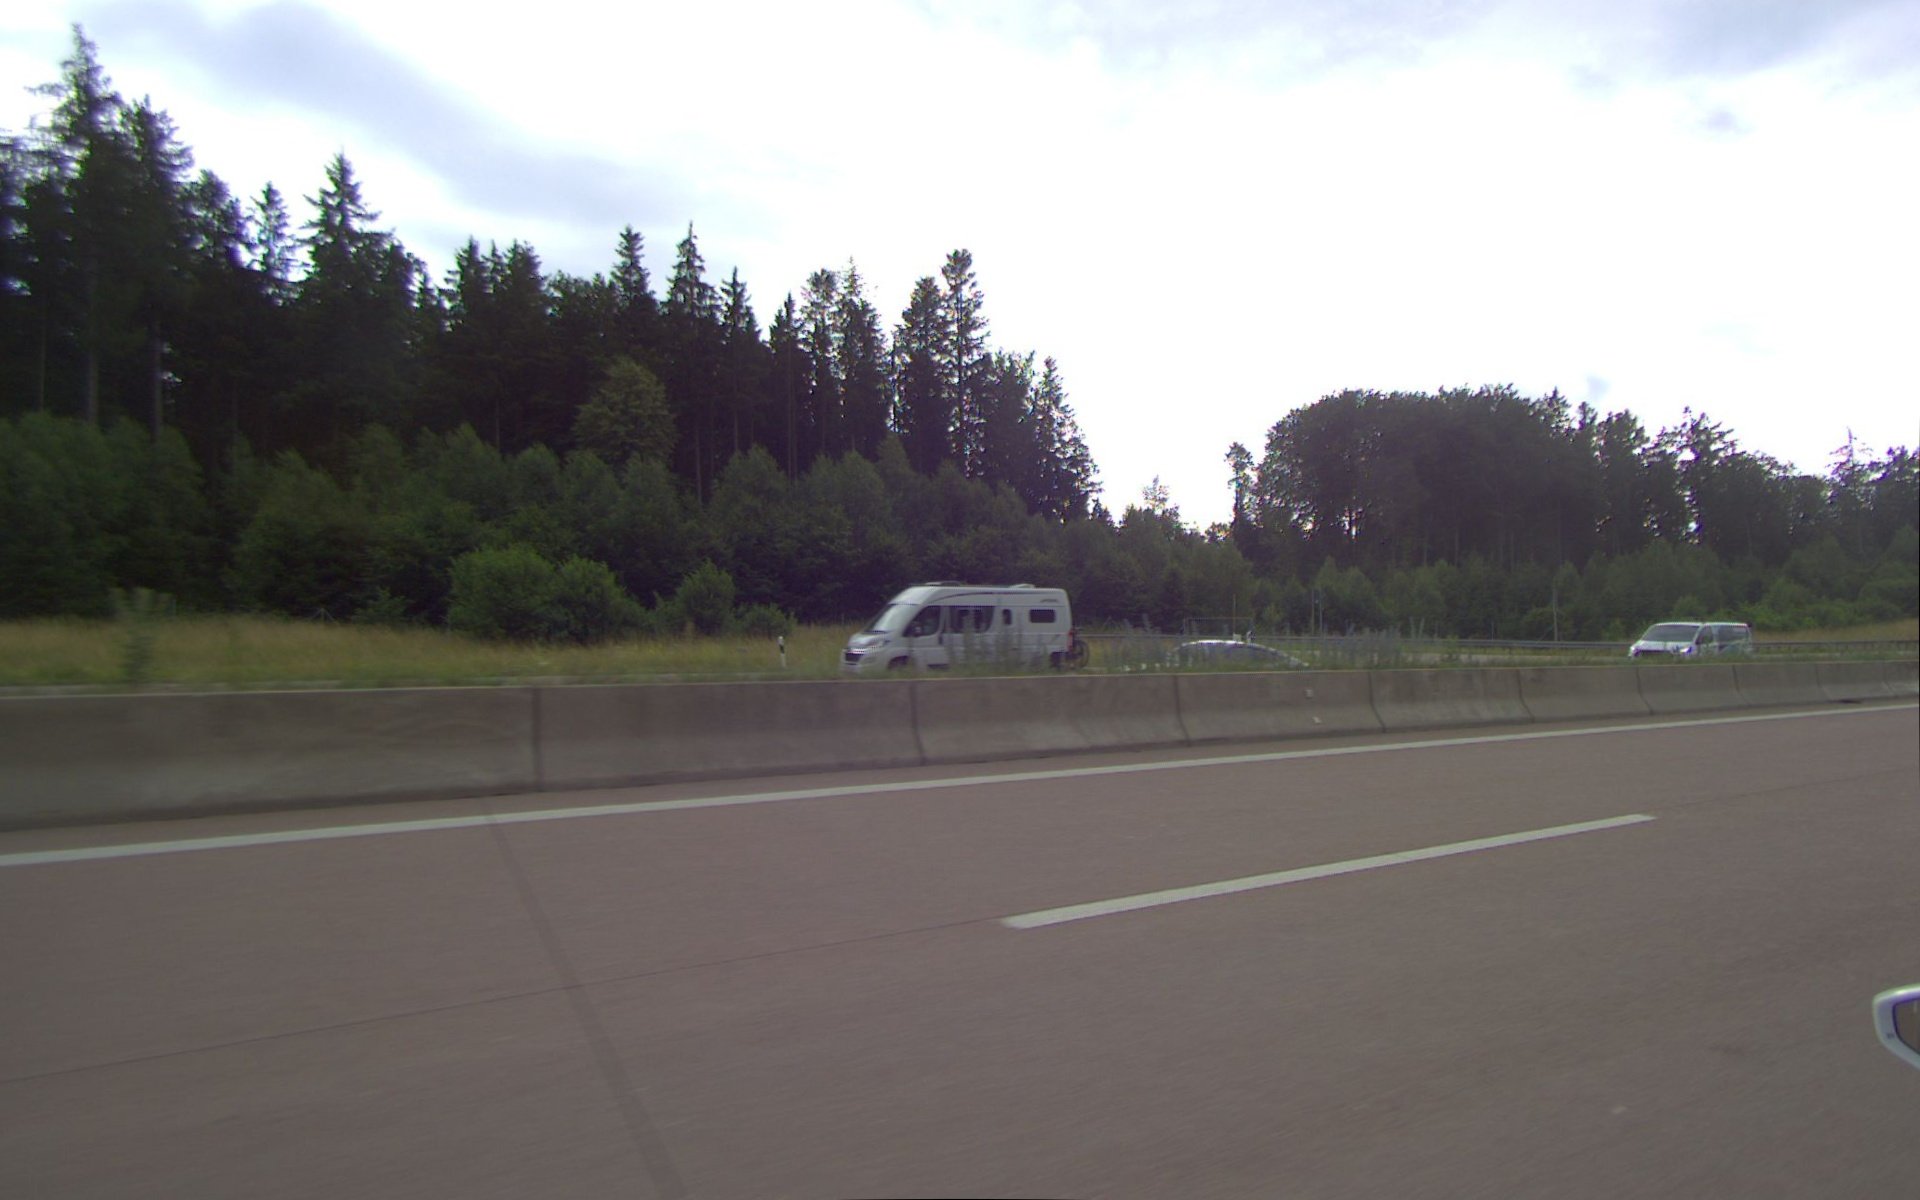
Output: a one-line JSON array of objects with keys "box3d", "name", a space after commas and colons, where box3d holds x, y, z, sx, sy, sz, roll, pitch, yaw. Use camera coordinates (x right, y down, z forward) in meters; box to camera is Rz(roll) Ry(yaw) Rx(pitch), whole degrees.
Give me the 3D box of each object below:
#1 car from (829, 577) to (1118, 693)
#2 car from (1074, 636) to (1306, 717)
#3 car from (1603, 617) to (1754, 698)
[{"box3d": [0.469, 0.881, 25.882, 7.246, 2.644, 2.447, 2, 0, -31], "name": "car"}, {"box3d": [4.382, 1.395, 19.017, 4.112, 1.298, 1.886, 2, 0, -31], "name": "car"}, {"box3d": [25.574, 2.006, 35.656, 6.283, 2.644, 2.023, 2, 0, -31], "name": "car"}]
